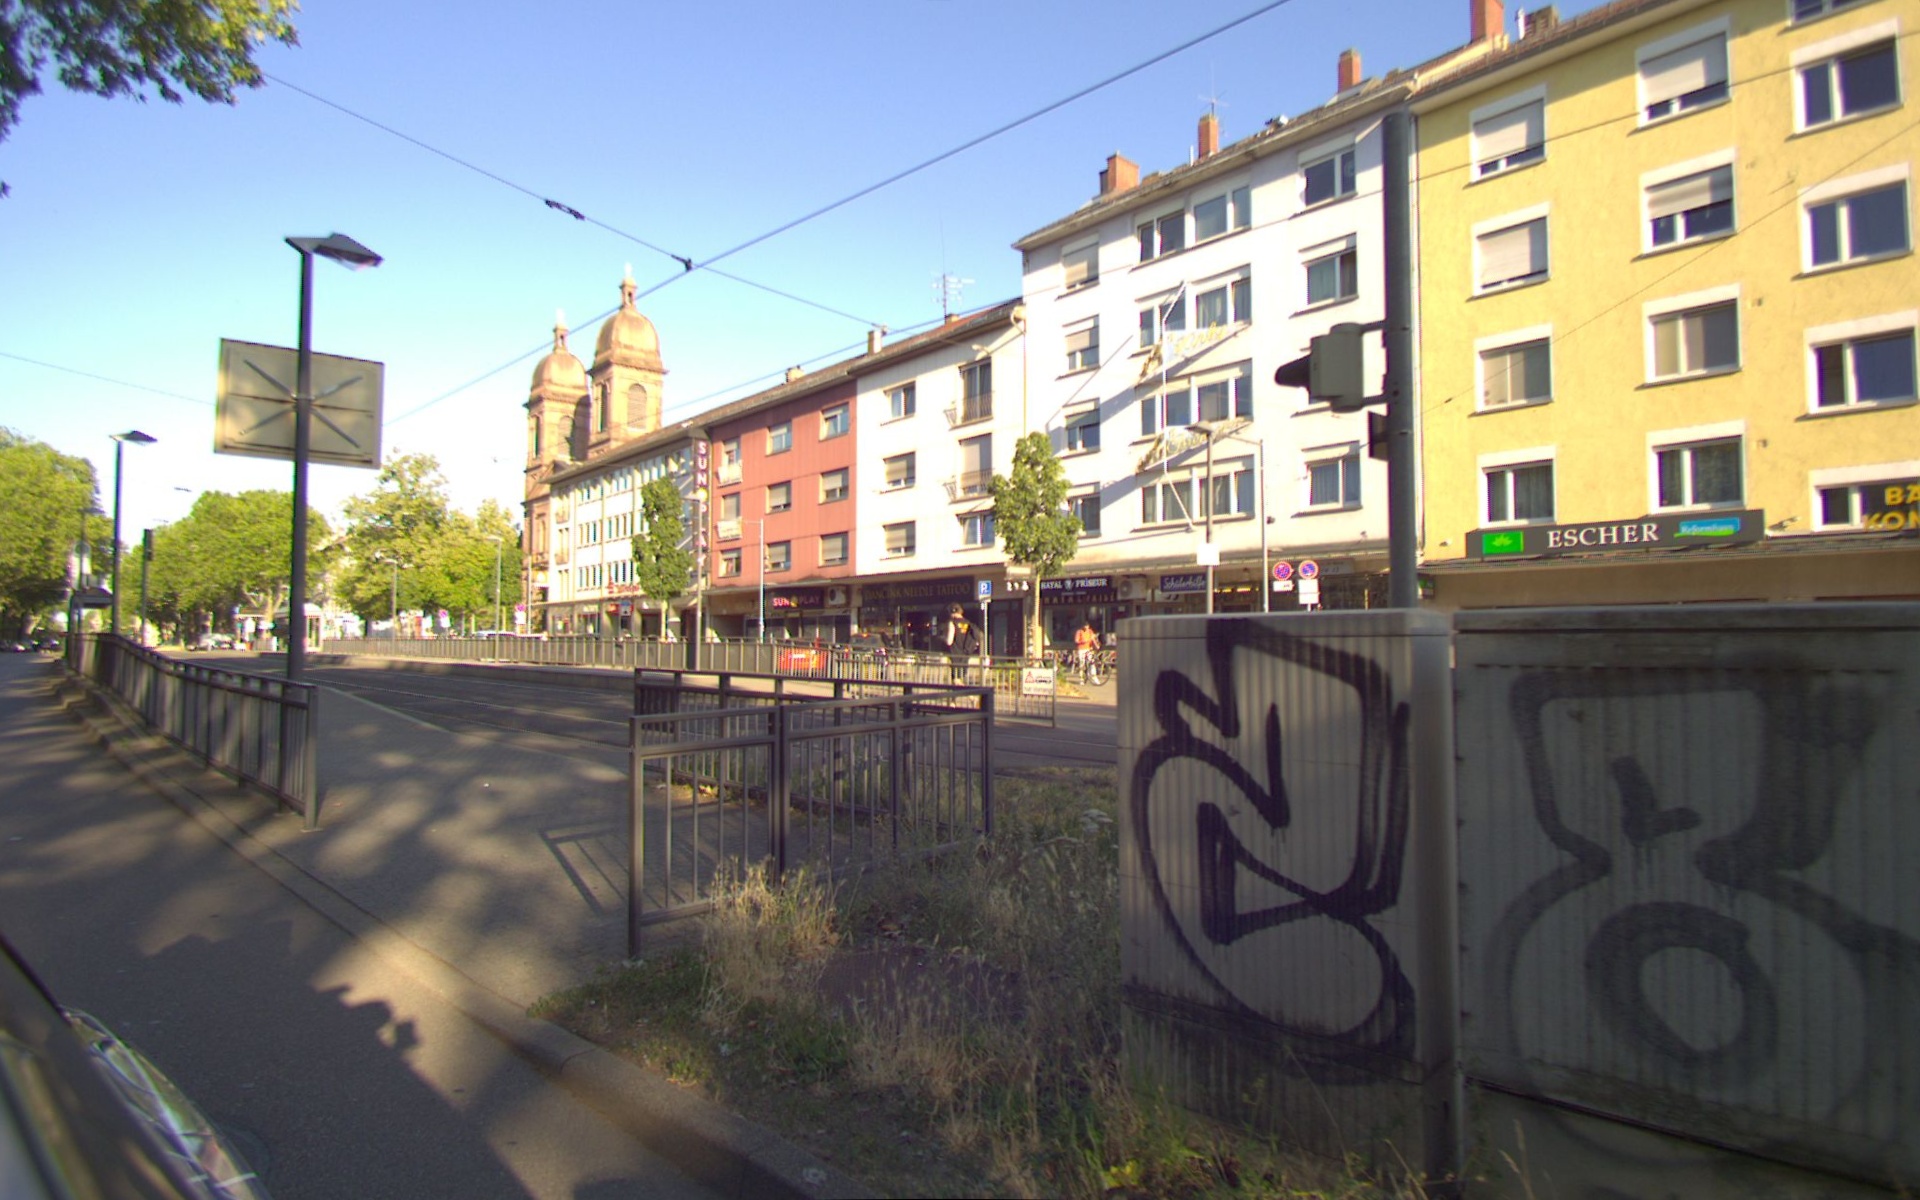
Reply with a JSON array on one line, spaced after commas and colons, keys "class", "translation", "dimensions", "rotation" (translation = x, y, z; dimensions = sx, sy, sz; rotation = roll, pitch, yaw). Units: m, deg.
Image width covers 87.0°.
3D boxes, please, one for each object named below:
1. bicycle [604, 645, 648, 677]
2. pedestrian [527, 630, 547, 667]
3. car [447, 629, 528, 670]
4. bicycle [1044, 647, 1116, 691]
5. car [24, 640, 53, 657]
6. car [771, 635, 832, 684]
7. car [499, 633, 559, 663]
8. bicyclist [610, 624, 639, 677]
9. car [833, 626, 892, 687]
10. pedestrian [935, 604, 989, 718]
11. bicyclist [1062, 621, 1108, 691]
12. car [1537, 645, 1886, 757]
[{"class": "bicycle", "translation": [-13.097, 2.377, 39.622], "dimensions": [0.709, 1.239, 2.280], "rotation": [3, -4, -43]}, {"class": "pedestrian", "translation": [-20.915, 2.391, 50.007], "dimensions": [0.756, 1.801, 0.727], "rotation": [0, -1, -35]}, {"class": "car", "translation": [-21.465, 2.229, 45.918], "dimensions": [1.970, 1.730, 4.439], "rotation": [3, -4, -44]}, {"class": "bicycle", "translation": [3.337, 1.906, 28.373], "dimensions": [0.696, 1.168, 2.204], "rotation": [0, -2, -34]}, {"class": "car", "translation": [-83.043, 4.356, 91.189], "dimensions": [4.000, 1.409, 1.695], "rotation": [-2, -1, 44]}, {"class": "car", "translation": [-5.610, 2.081, 36.240], "dimensions": [1.836, 1.502, 3.774], "rotation": [-1, 0, -5]}, {"class": "car", "translation": [-24.294, 2.690, 57.176], "dimensions": [1.719, 1.497, 4.000], "rotation": [-1, -1, 0]}, {"class": "bicyclist", "translation": [-13.172, 1.972, 39.722], "dimensions": [0.755, 2.029, 0.912], "rotation": [3, -4, -44]}, {"class": "car", "translation": [-3.299, 1.875, 34.541], "dimensions": [1.836, 1.813, 3.774], "rotation": [-1, 0, -5]}, {"class": "pedestrian", "translation": [0.038, 1.010, 17.027], "dimensions": [0.589, 1.863, 0.733], "rotation": [-2, -3, 42]}, {"class": "bicyclist", "translation": [3.471, 1.541, 28.192], "dimensions": [0.683, 1.901, 1.060], "rotation": [-1, -1, -34]}, {"class": "car", "translation": [12.295, 1.553, 16.756], "dimensions": [4.412, 1.489, 1.971], "rotation": [-2, -1, 44]}]
